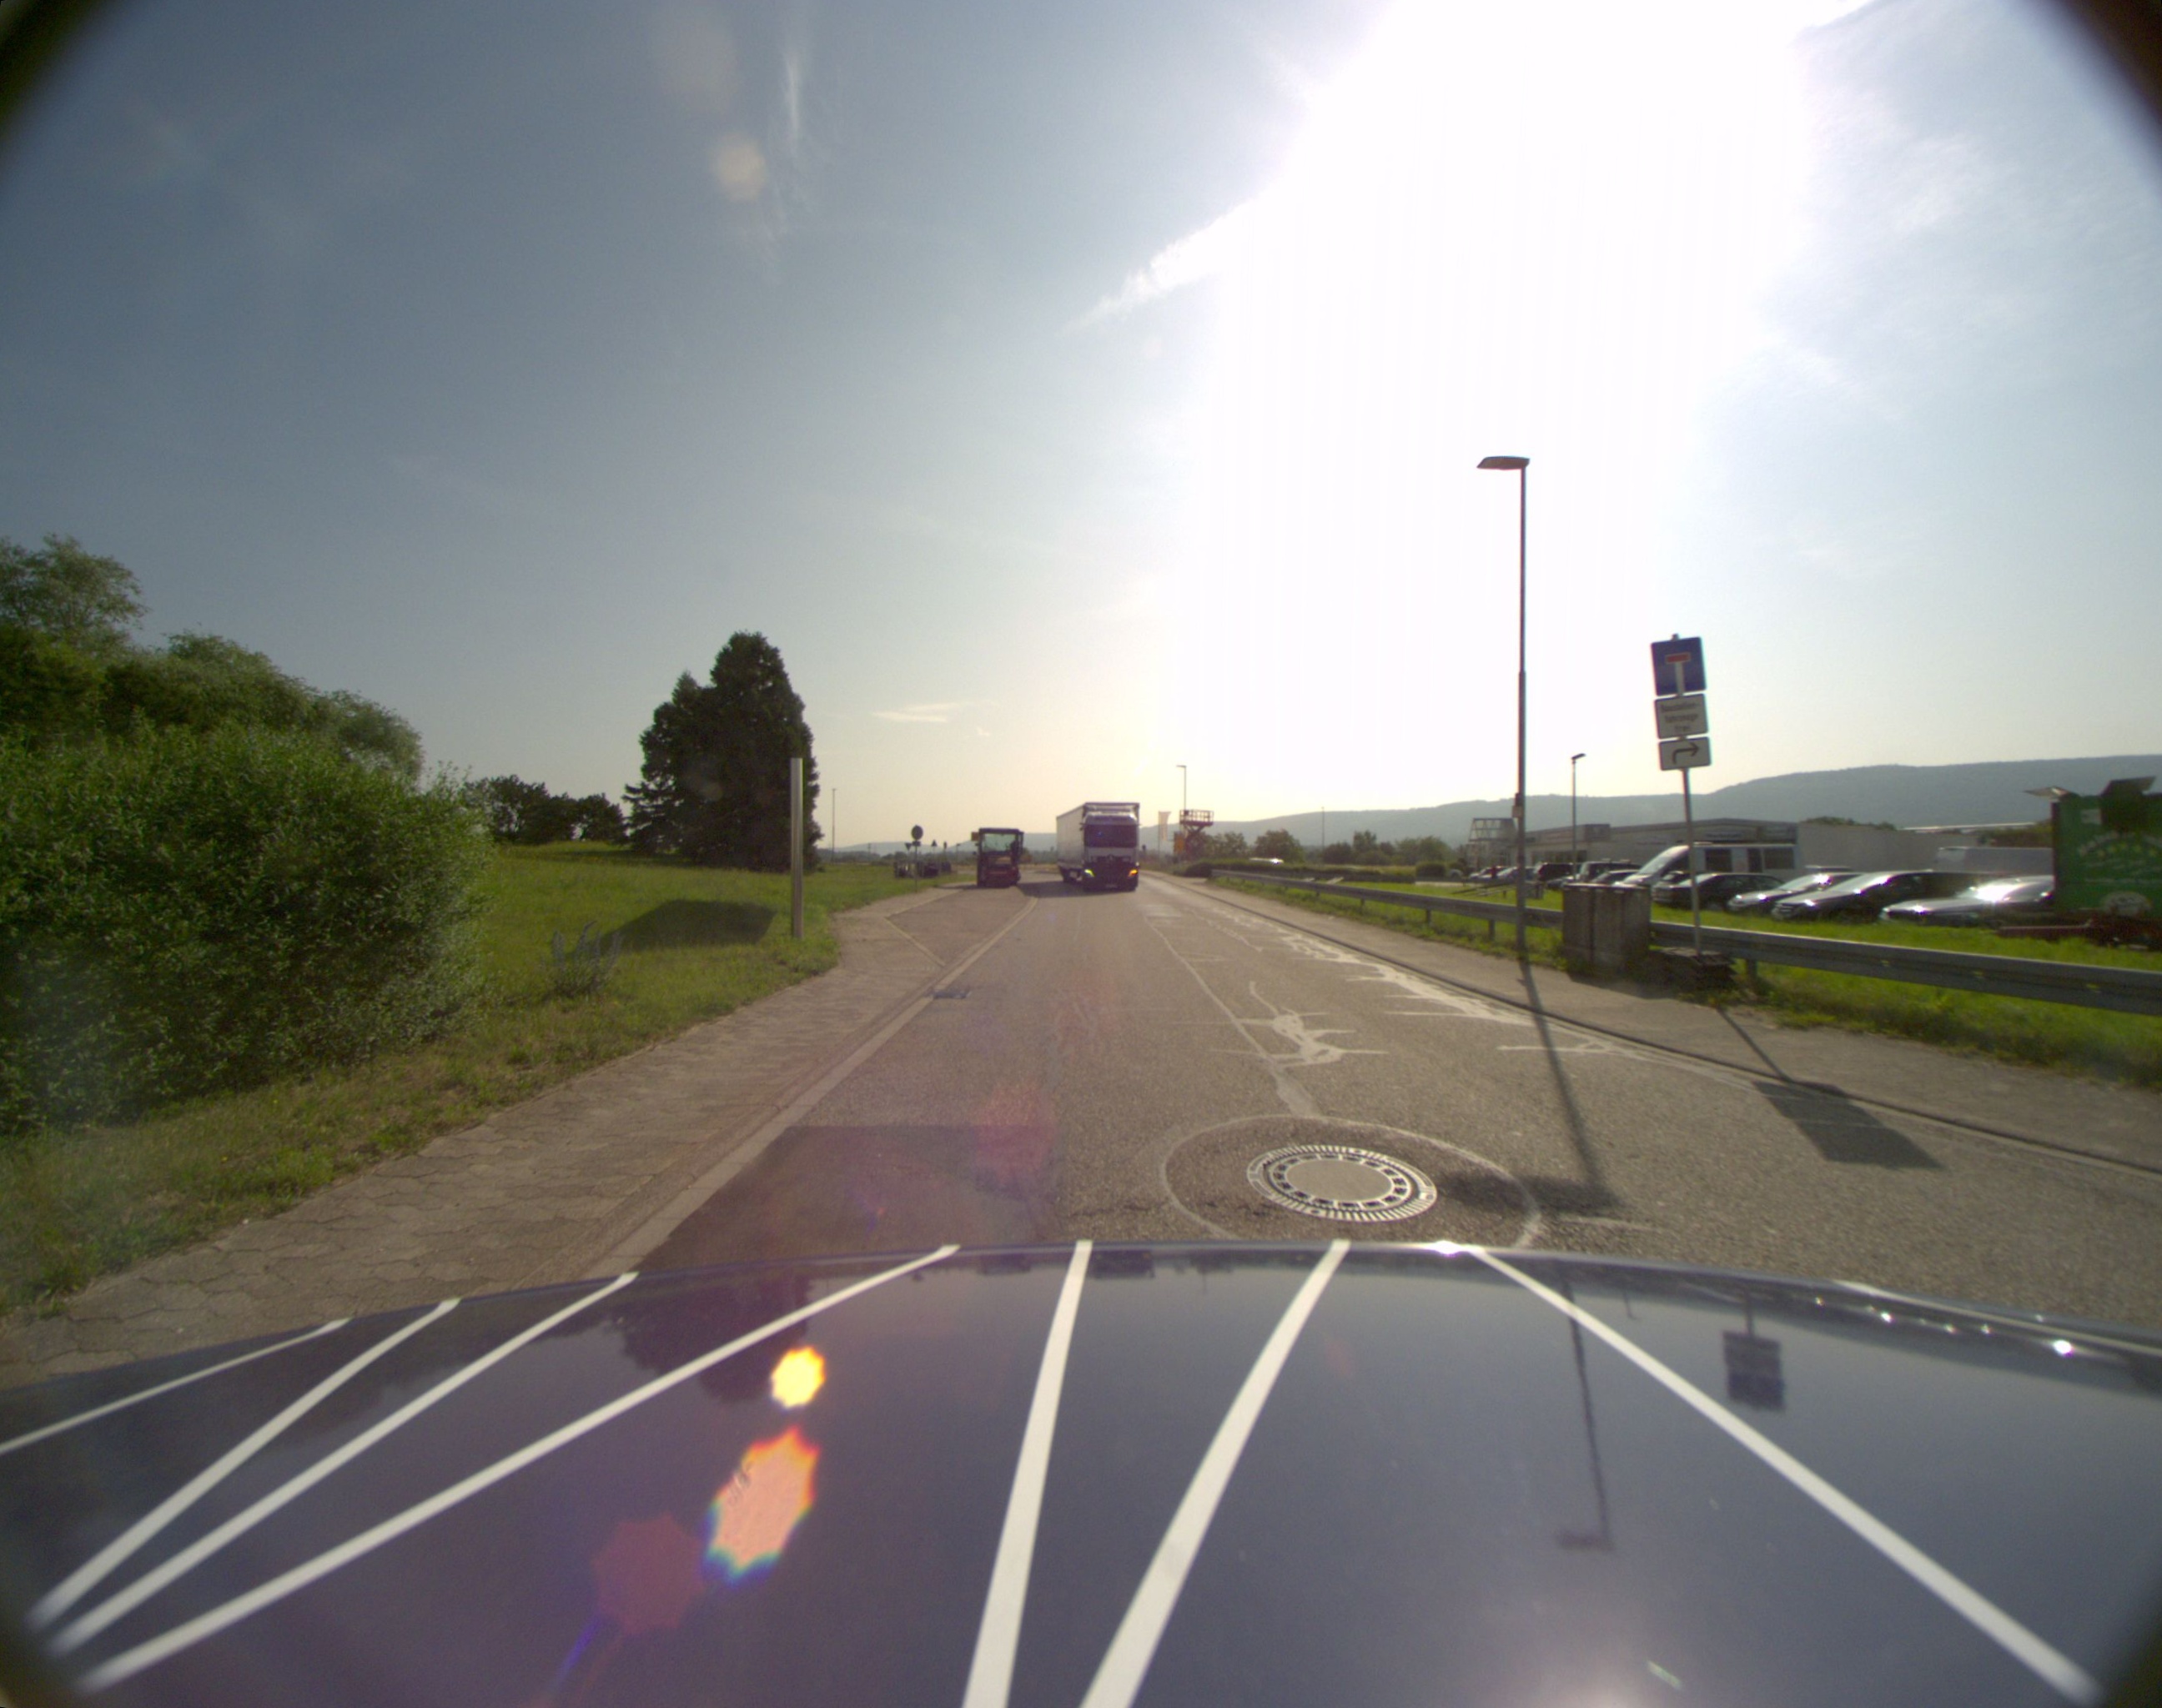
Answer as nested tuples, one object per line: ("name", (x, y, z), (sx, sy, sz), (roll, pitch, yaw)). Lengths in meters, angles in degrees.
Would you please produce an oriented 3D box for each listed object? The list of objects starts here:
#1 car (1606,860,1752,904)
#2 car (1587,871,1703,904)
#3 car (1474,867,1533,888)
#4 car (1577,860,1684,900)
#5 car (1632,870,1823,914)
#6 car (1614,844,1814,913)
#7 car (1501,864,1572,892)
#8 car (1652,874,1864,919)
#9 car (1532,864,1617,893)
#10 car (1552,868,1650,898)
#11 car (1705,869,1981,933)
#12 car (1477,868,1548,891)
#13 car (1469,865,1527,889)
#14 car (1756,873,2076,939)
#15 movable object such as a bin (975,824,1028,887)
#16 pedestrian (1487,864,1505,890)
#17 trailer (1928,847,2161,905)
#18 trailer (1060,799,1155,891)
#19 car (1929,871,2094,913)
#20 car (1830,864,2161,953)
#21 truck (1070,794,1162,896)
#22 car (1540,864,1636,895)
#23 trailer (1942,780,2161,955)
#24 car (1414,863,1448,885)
("car", (24.623, 1.132, 31.502), (4.393, 1.653, 1.810), (1, -1, 20))
("car", (25.133, 1.454, 33.988), (3.750, 1.301, 1.809), (1, 0, 15))
("car", (32.650, 1.825, 58.867), (3.659, 1.455, 1.766), (1, 0, 15))
("car", (26.337, 1.219, 36.526), (3.750, 1.741, 1.751), (1, 0, 15))
("car", (22.658, 1.308, 26.873), (4.755, 1.346, 1.925), (1, -1, 20))
("car", (23.961, 0.899, 29.068), (5.394, 2.358, 2.298), (1, -1, 20))
("car", (31.648, 1.630, 52.893), (3.767, 1.785, 1.935), (-2, 1, 13))
("car", (21.362, 1.307, 24.224), (4.686, 1.211, 1.834), (1, -1, 20))
("car", (28.215, 1.383, 43.564), (3.681, 1.512, 1.686), (1, 0, 12))
("car", (26.560, 1.472, 38.942), (3.750, 1.381, 1.731), (1, 0, 15))
("car", (21.210, 1.260, 21.480), (5.131, 1.525, 2.029), (1, -1, 20))
("car", (31.590, 1.856, 55.756), (4.149, 1.526, 1.885), (1, 0, 13))
("car", (34.946, 1.867, 63.779), (4.087, 1.861, 1.820), (1, 0, 23))
("car", (19.838, 1.189, 18.368), (4.955, 1.309, 1.782), (1, -1, 20))
("movable object such as a bin", (-4.127, 0.079, 39.412), (2.435, 2.994, 5.750), (1, 0, -6))
("pedestrian", (29.345, 1.609, 53.740), (0.838, 1.744, 0.994), (-2, 1, 13))
("trailer", (39.354, 0.854, 31.152), (5.753, 2.112, 2.221), (1, 0, 22))
("trailer", (1.047, -0.463, 42.511), (3.499, 4.183, 14.226), (-2, 1, -5))
("car", (35.725, 1.423, 29.284), (3.659, 1.455, 1.766), (1, 0, 15))
("car", (18.906, 1.044, 15.211), (5.131, 1.525, 2.182), (1, -1, 20))
("truck", (1.459, -0.412, 35.000), (3.396, 4.183, 6.095), (-2, 1, -4))
("car", (27.472, 1.365, 41.292), (3.993, 1.512, 1.686), (1, 0, 12))
("trailer", (18.800, 0.271, 11.994), (6.315, 2.589, 2.858), (1, 0, 15))
("car", (34.542, 1.932, 75.093), (1.997, 2.002, 4.160), (1, 0, 9))
